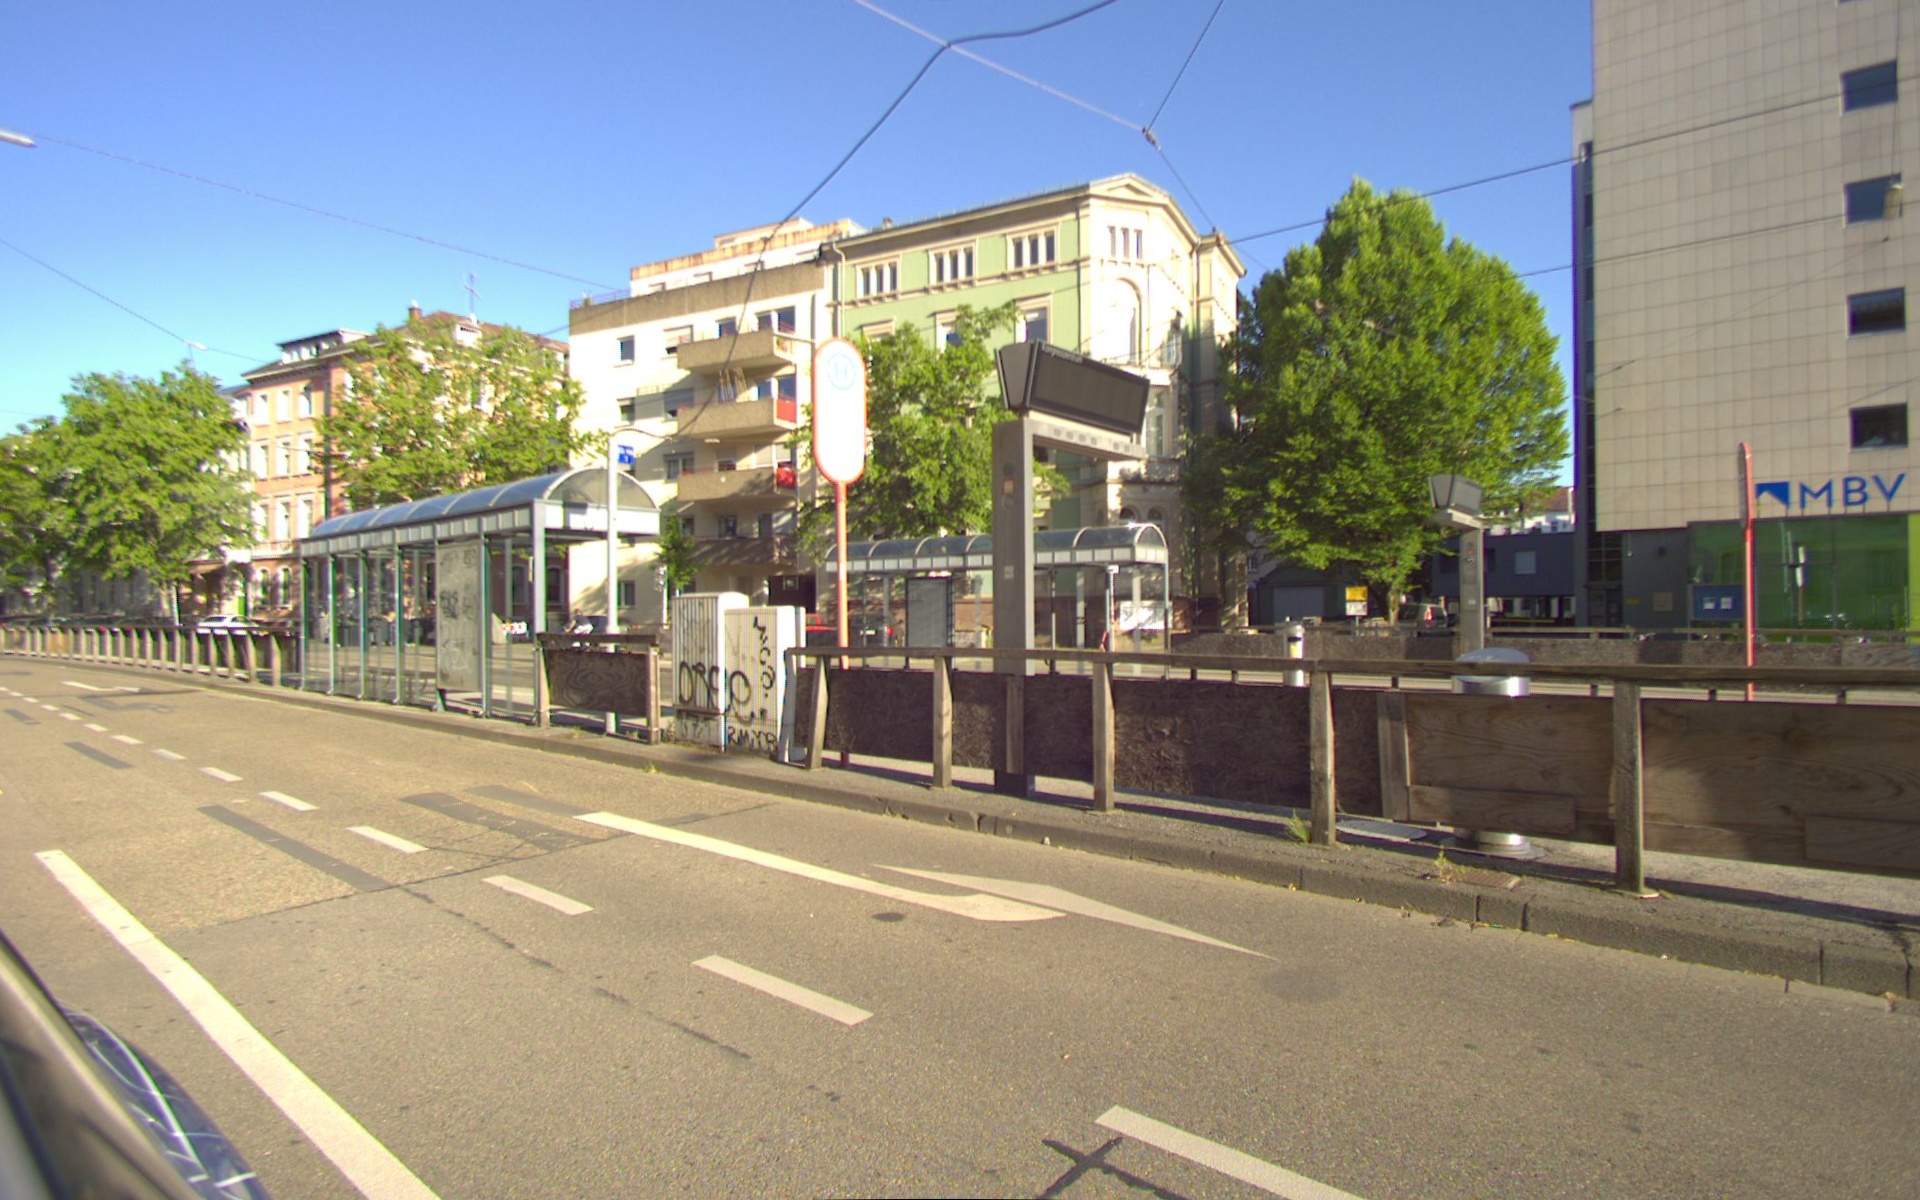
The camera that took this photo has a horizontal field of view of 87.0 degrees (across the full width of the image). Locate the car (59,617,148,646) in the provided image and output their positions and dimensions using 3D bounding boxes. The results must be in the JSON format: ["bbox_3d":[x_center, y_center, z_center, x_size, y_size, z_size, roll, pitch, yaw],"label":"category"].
[{"bbox_3d":[-51.291,1.868,60.640,2.001,1.697,3.942,-2,-2,44],"label":"car"}]

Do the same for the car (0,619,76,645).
[{"bbox_3d":[-59.607,2.037,65.281,3.811,1.604,2.001,1,-2,-45],"label":"car"}]

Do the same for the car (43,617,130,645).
[{"bbox_3d":[-54.298,1.913,62.969,2.001,1.697,3.942,-2,-2,44],"label":"car"}]

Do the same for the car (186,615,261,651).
[{"bbox_3d":[-39.519,1.735,54.384,1.966,1.736,4.012,0,1,-15],"label":"car"}]

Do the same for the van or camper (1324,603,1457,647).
[{"bbox_3d":[15.507,0.883,36.552,3.998,1.417,1.943,2,0,41],"label":"van or camper"}]

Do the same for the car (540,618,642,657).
[{"bbox_3d":[-14.001,1.404,38.402,3.498,1.406,1.602,-1,-2,22],"label":"car"}]

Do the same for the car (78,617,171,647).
[{"bbox_3d":[-47.974,1.806,58.167,2.001,1.697,3.942,-2,-2,44],"label":"car"}]

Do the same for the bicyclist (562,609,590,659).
[{"bbox_3d":[-13.702,1.207,36.079,0.765,1.774,0.532,-1,-1,21],"label":"bicyclist"}]

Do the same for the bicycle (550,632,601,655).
[{"bbox_3d":[-13.715,1.560,36.081,1.839,0.793,0.532,-1,-1,21],"label":"bicycle"}]

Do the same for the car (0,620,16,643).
[{"bbox_3d":[-68.096,2.167,70.126,2.001,1.604,3.812,-2,-2,44],"label":"car"}]

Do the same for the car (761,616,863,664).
[{"bbox_3d":[-5.000,1.358,34.697,1.763,1.547,3.763,-1,-2,23],"label":"car"}]
